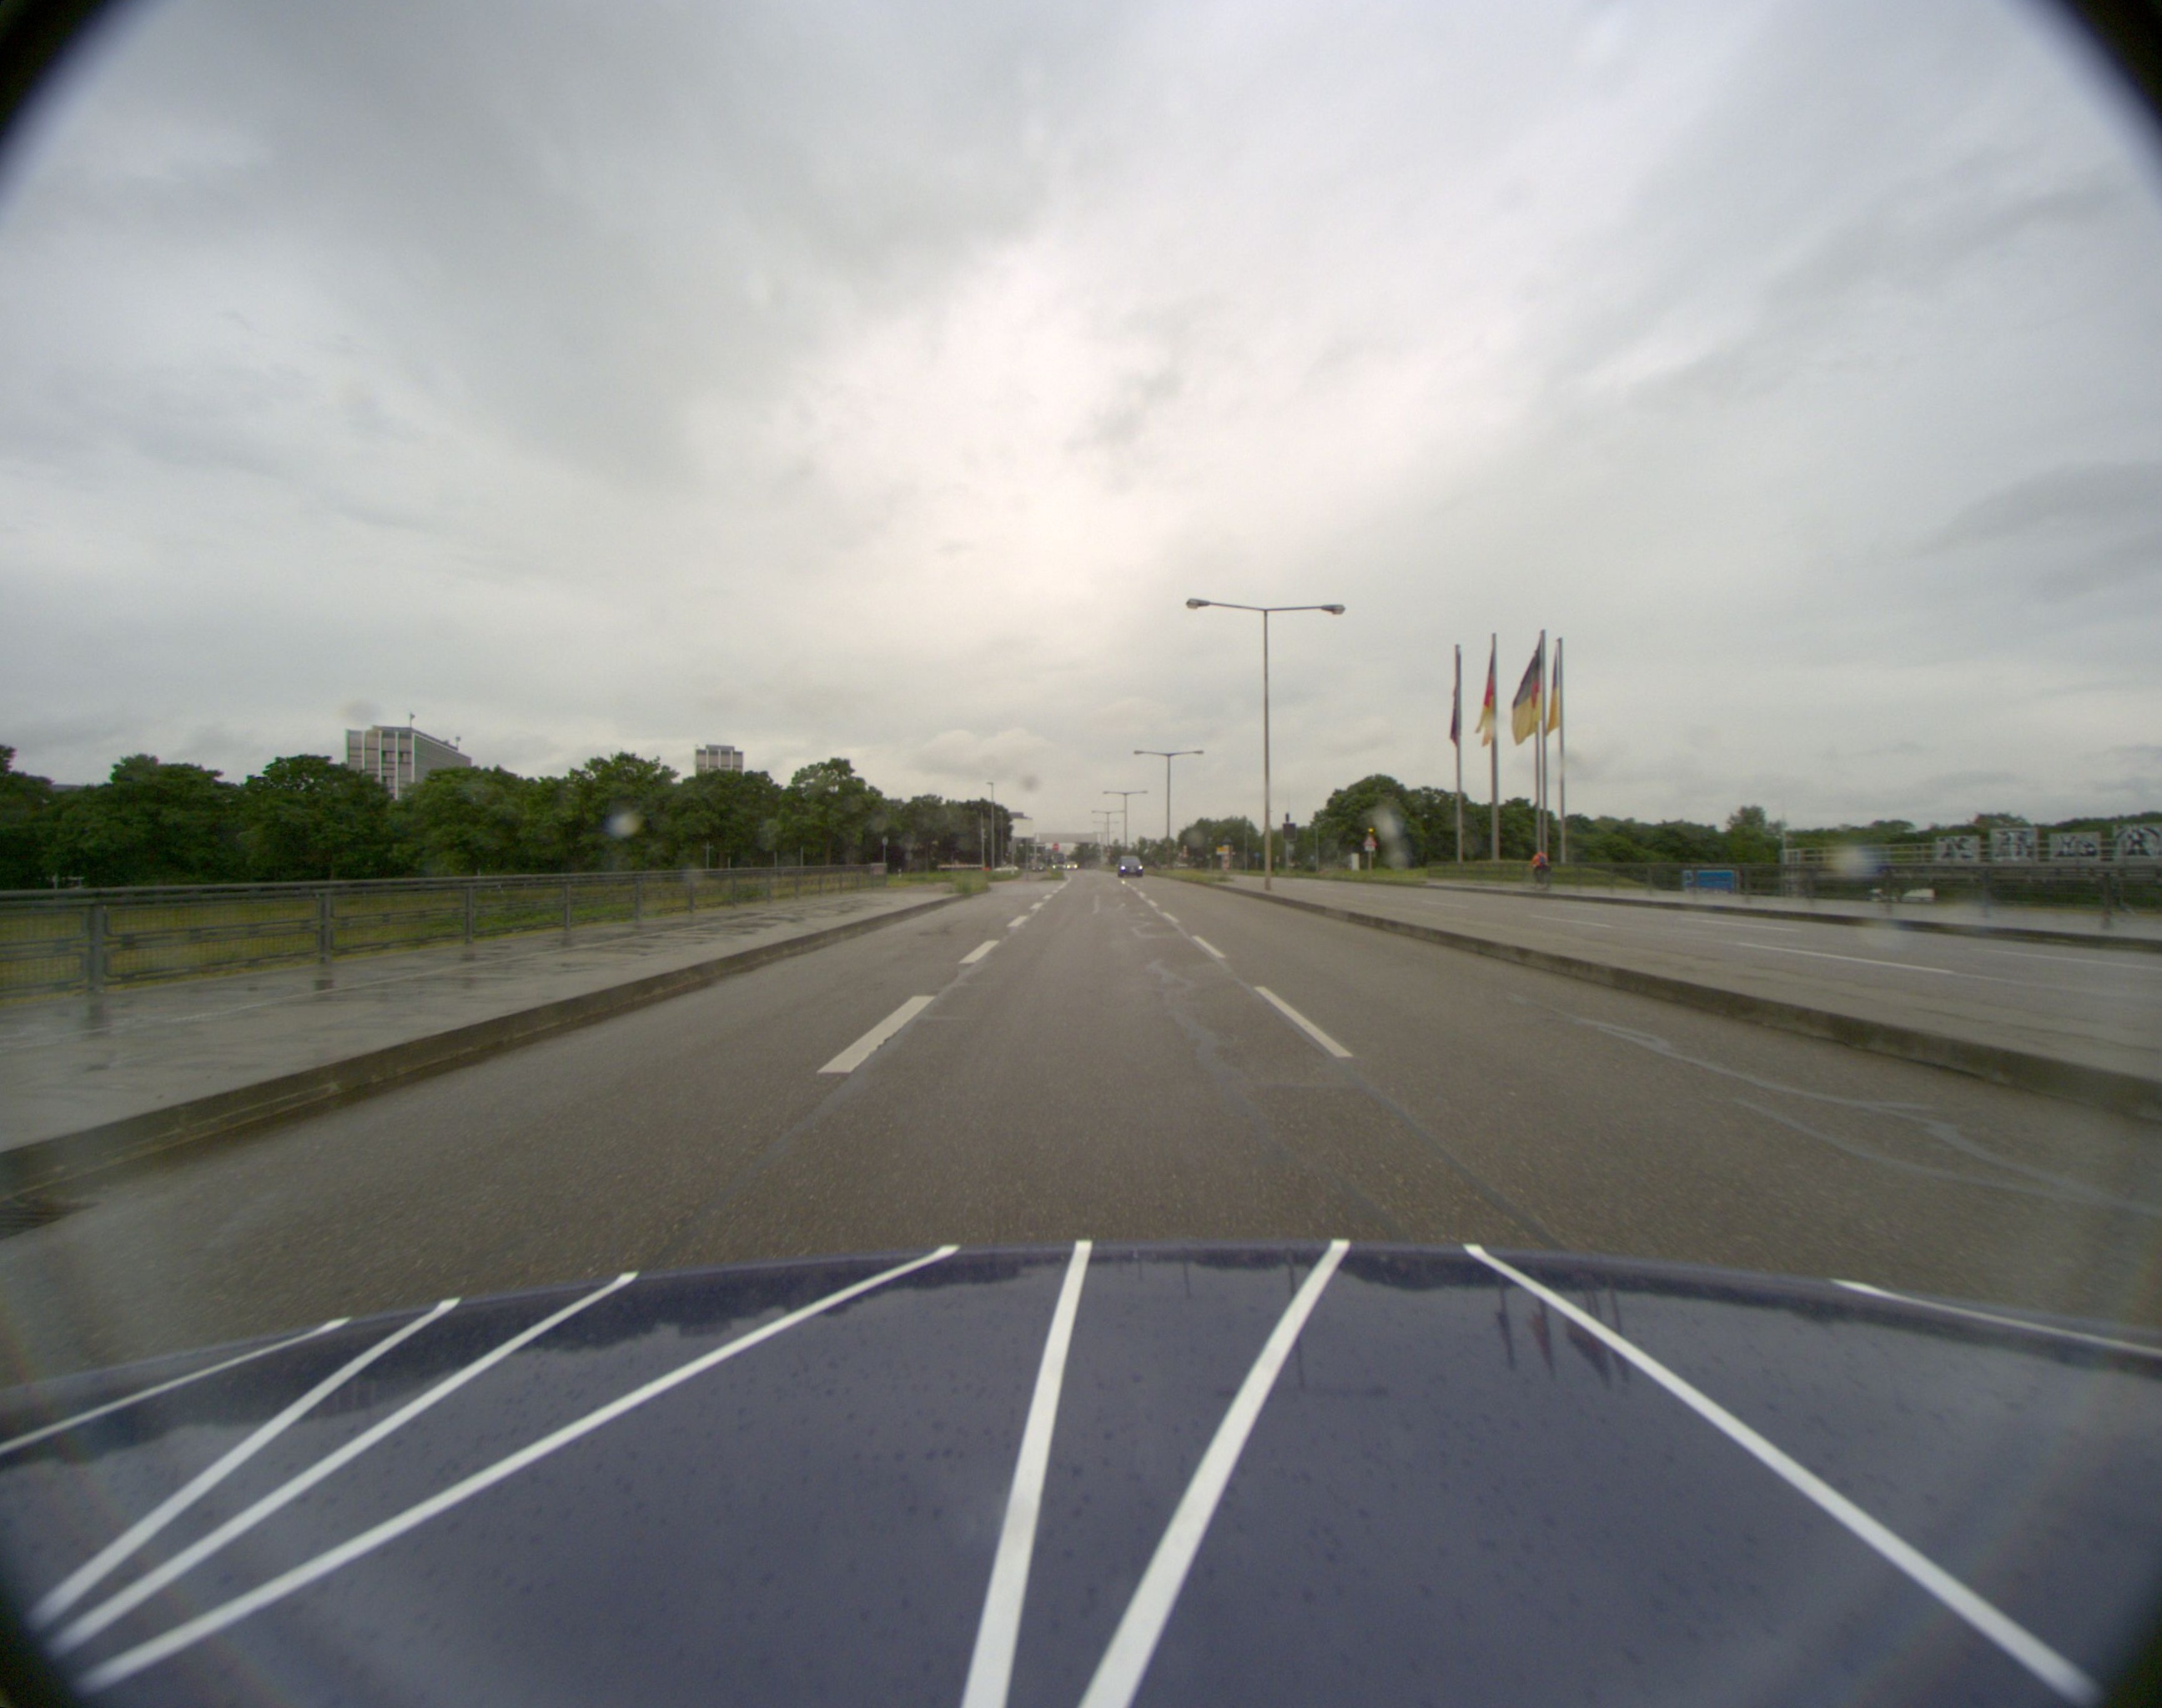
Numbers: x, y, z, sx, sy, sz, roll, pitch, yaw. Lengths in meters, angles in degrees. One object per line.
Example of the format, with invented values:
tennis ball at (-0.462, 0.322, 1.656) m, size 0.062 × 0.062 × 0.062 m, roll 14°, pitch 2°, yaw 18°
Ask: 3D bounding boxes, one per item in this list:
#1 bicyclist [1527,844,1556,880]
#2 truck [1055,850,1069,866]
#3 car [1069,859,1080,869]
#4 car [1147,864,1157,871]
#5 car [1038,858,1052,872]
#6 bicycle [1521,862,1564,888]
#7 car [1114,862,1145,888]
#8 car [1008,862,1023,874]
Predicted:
bicyclist at (19.958, 0.335, 32.925) m, size 0.621 × 1.491 × 1.003 m, roll -2°, pitch 1°, yaw 1°
truck at (-3.972, 0.741, 160.108) m, size 2.860 × 3.196 × 8.096 m, roll -1°, pitch 0°, yaw -1°
car at (-1.298, 1.887, 144.001) m, size 1.999 × 1.701 × 3.999 m, roll -1°, pitch 0°, yaw -1°
car at (18.538, 3.501, 198.560) m, size 1.851 × 1.740 × 4.030 m, roll -1°, pitch 0°, yaw -3°
car at (-5.886, 1.737, 124.759) m, size 2.252 × 2.248 × 5.170 m, roll -1°, pitch 0°, yaw -1°
bicycle at (19.979, 0.893, 32.937) m, size 0.611 × 1.027 × 2.001 m, roll -2°, pitch 1°, yaw 1°
car at (3.964, 1.712, 63.132) m, size 1.851 × 1.741 × 4.813 m, roll -4°, pitch 3°, yaw -3°
car at (-9.690, 2.048, 112.586) m, size 1.841 × 1.739 × 4.000 m, roll -1°, pitch 0°, yaw -1°
